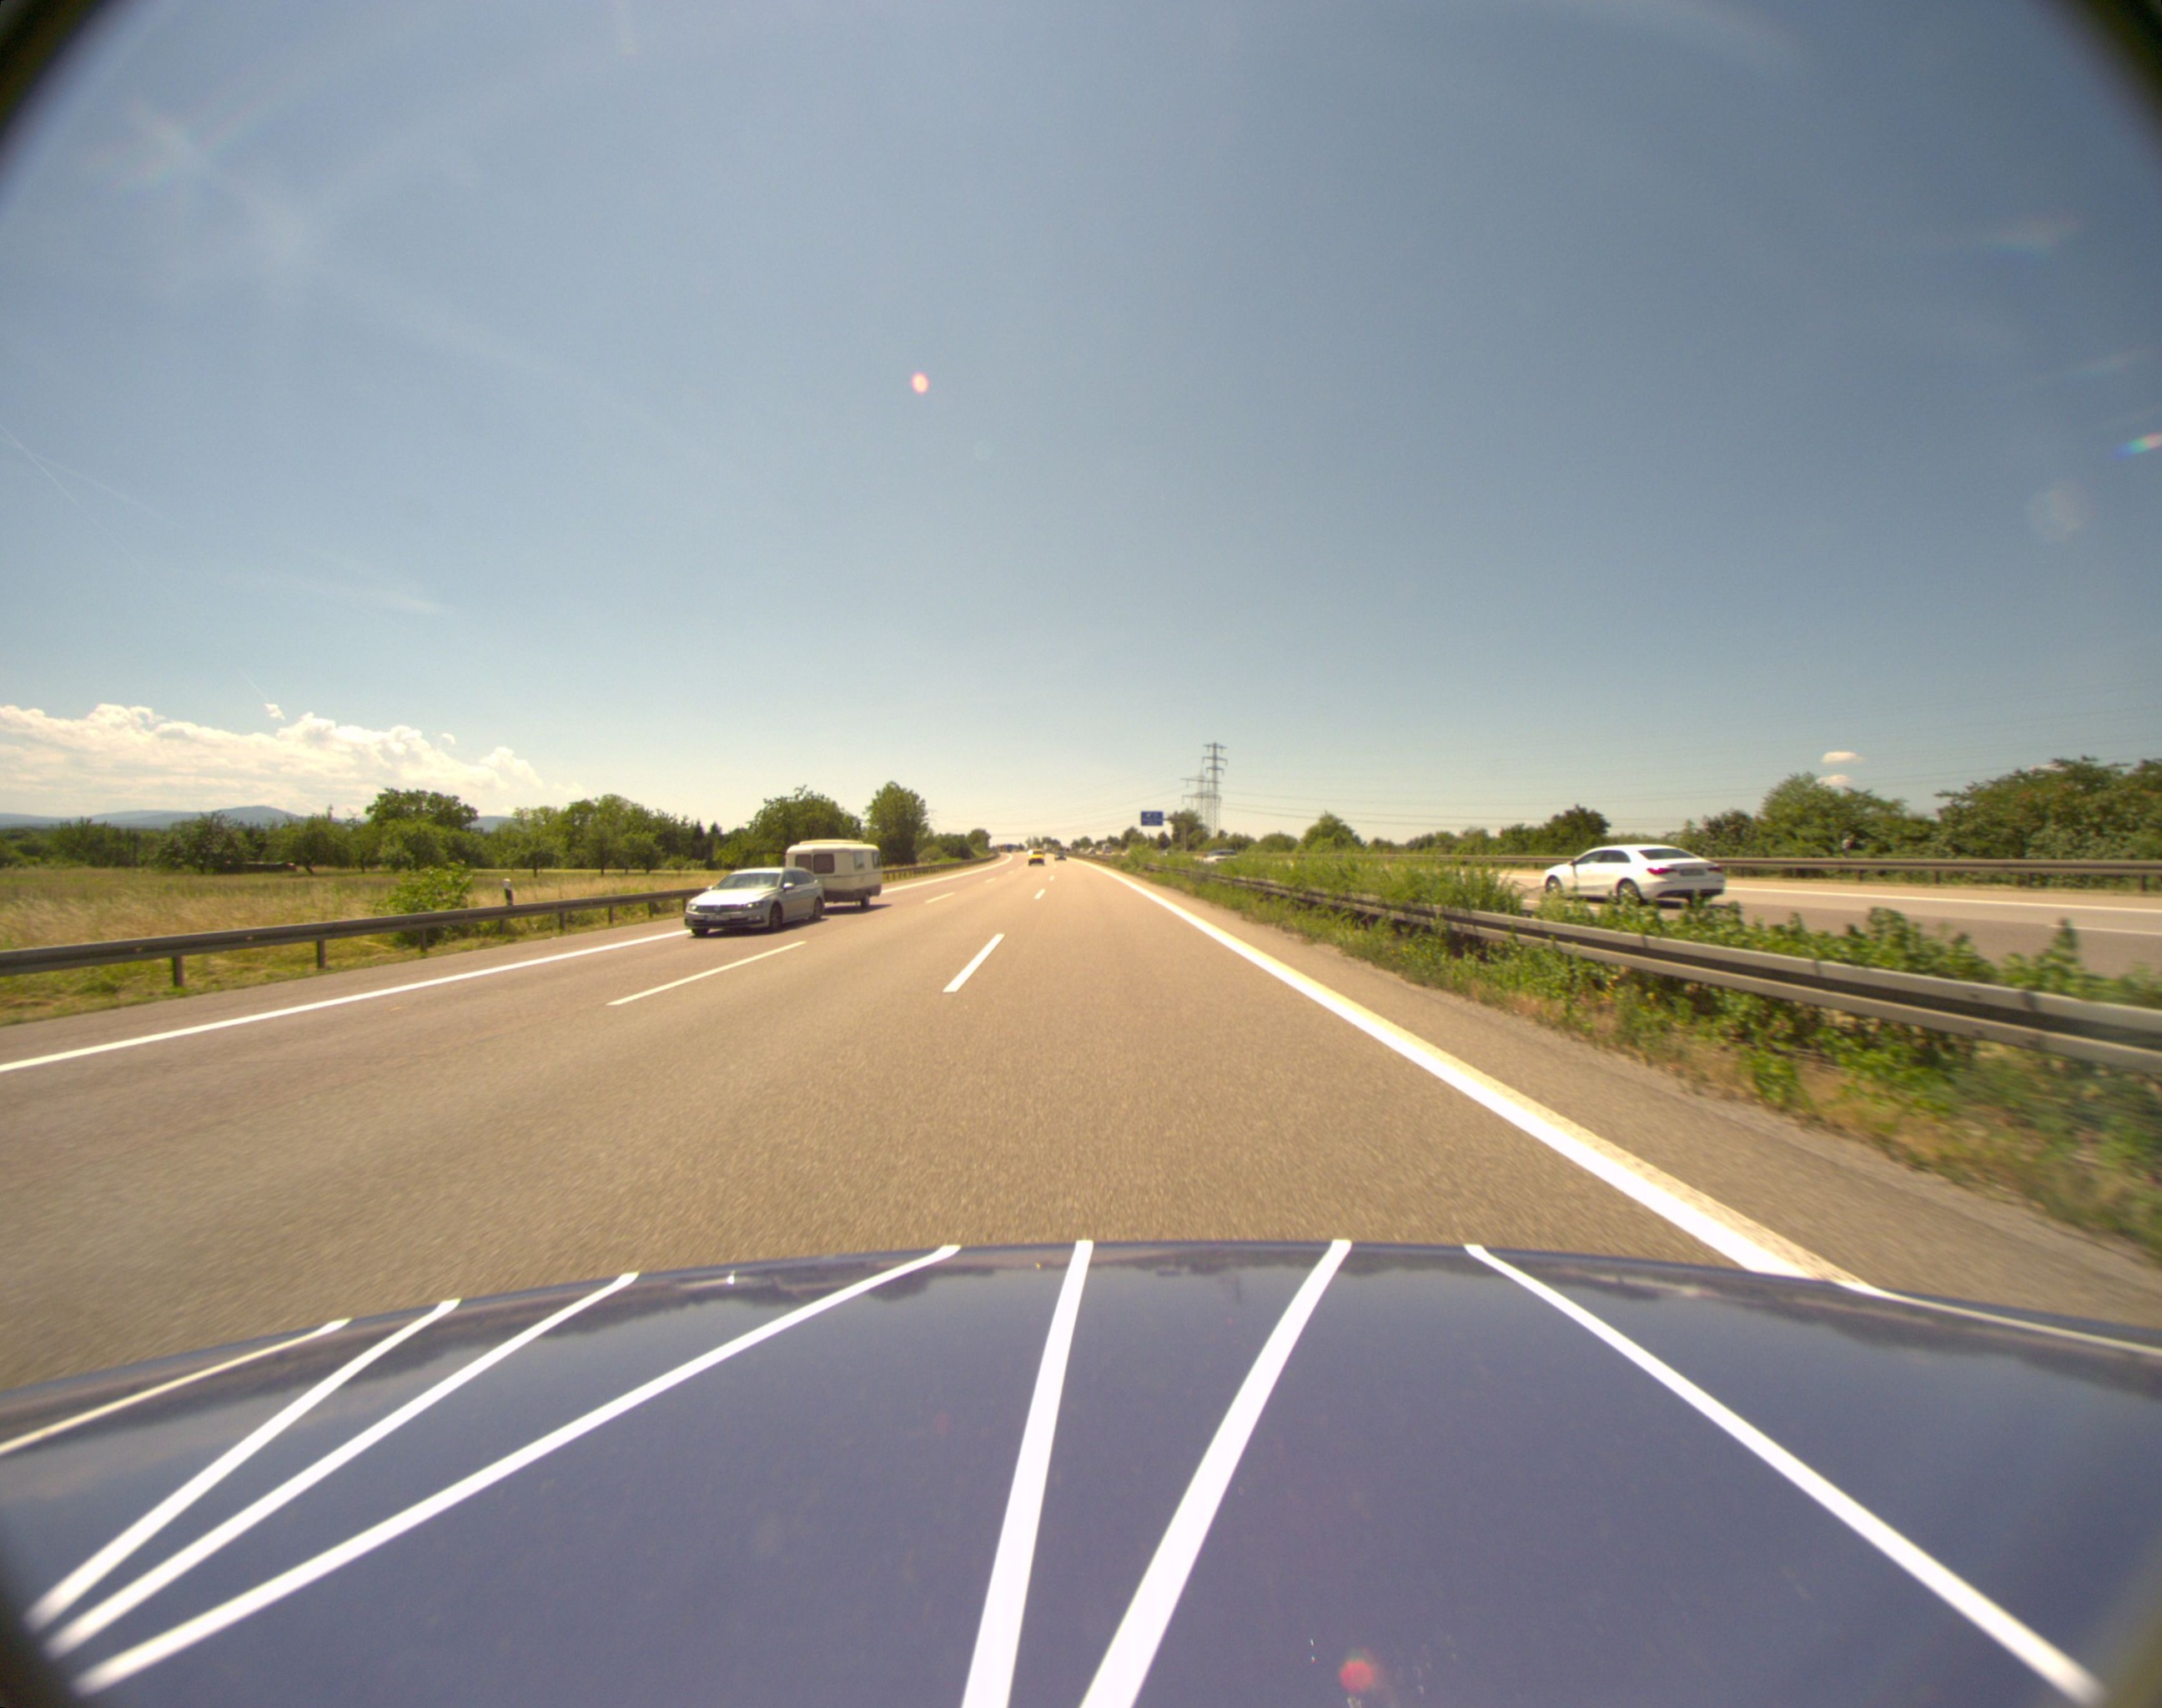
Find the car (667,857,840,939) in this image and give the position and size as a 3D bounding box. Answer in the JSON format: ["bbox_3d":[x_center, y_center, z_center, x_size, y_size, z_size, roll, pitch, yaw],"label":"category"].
[{"bbox_3d":[-7.632,0.940,18.459,2.050,1.648,5.509,-1,-1,-3],"label":"car"}]

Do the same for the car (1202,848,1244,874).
[{"bbox_3d":[9.327,0.404,50.098,1.815,1.552,4.403,-2,1,-2],"label":"car"}]

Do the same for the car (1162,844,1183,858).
[{"bbox_3d":[11.897,-0.408,99.120,1.999,1.679,4.501,-2,1,-2],"label":"car"}]

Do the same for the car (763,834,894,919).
[{"bbox_3d":[-7.807,0.675,24.194,2.449,2.308,5.321,-3,-1,-2],"label":"car"}]

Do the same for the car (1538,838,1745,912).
[{"bbox_3d":[13.383,0.459,18.537,1.706,1.551,4.377,-2,0,-2],"label":"car"}]

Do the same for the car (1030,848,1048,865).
[{"bbox_3d":[-5.106,0.340,92.481,1.955,2.001,5.433,0,-1,-1],"label":"car"}]

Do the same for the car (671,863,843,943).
[{"bbox_3d":[-7.617,1.056,18.610,1.892,1.506,5.379,-3,0,-1],"label":"car"}]

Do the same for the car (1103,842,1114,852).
[{"bbox_3d":[7.525,-2.008,211.177,1.999,2.670,7.178,-2,1,-5],"label":"car"}]
